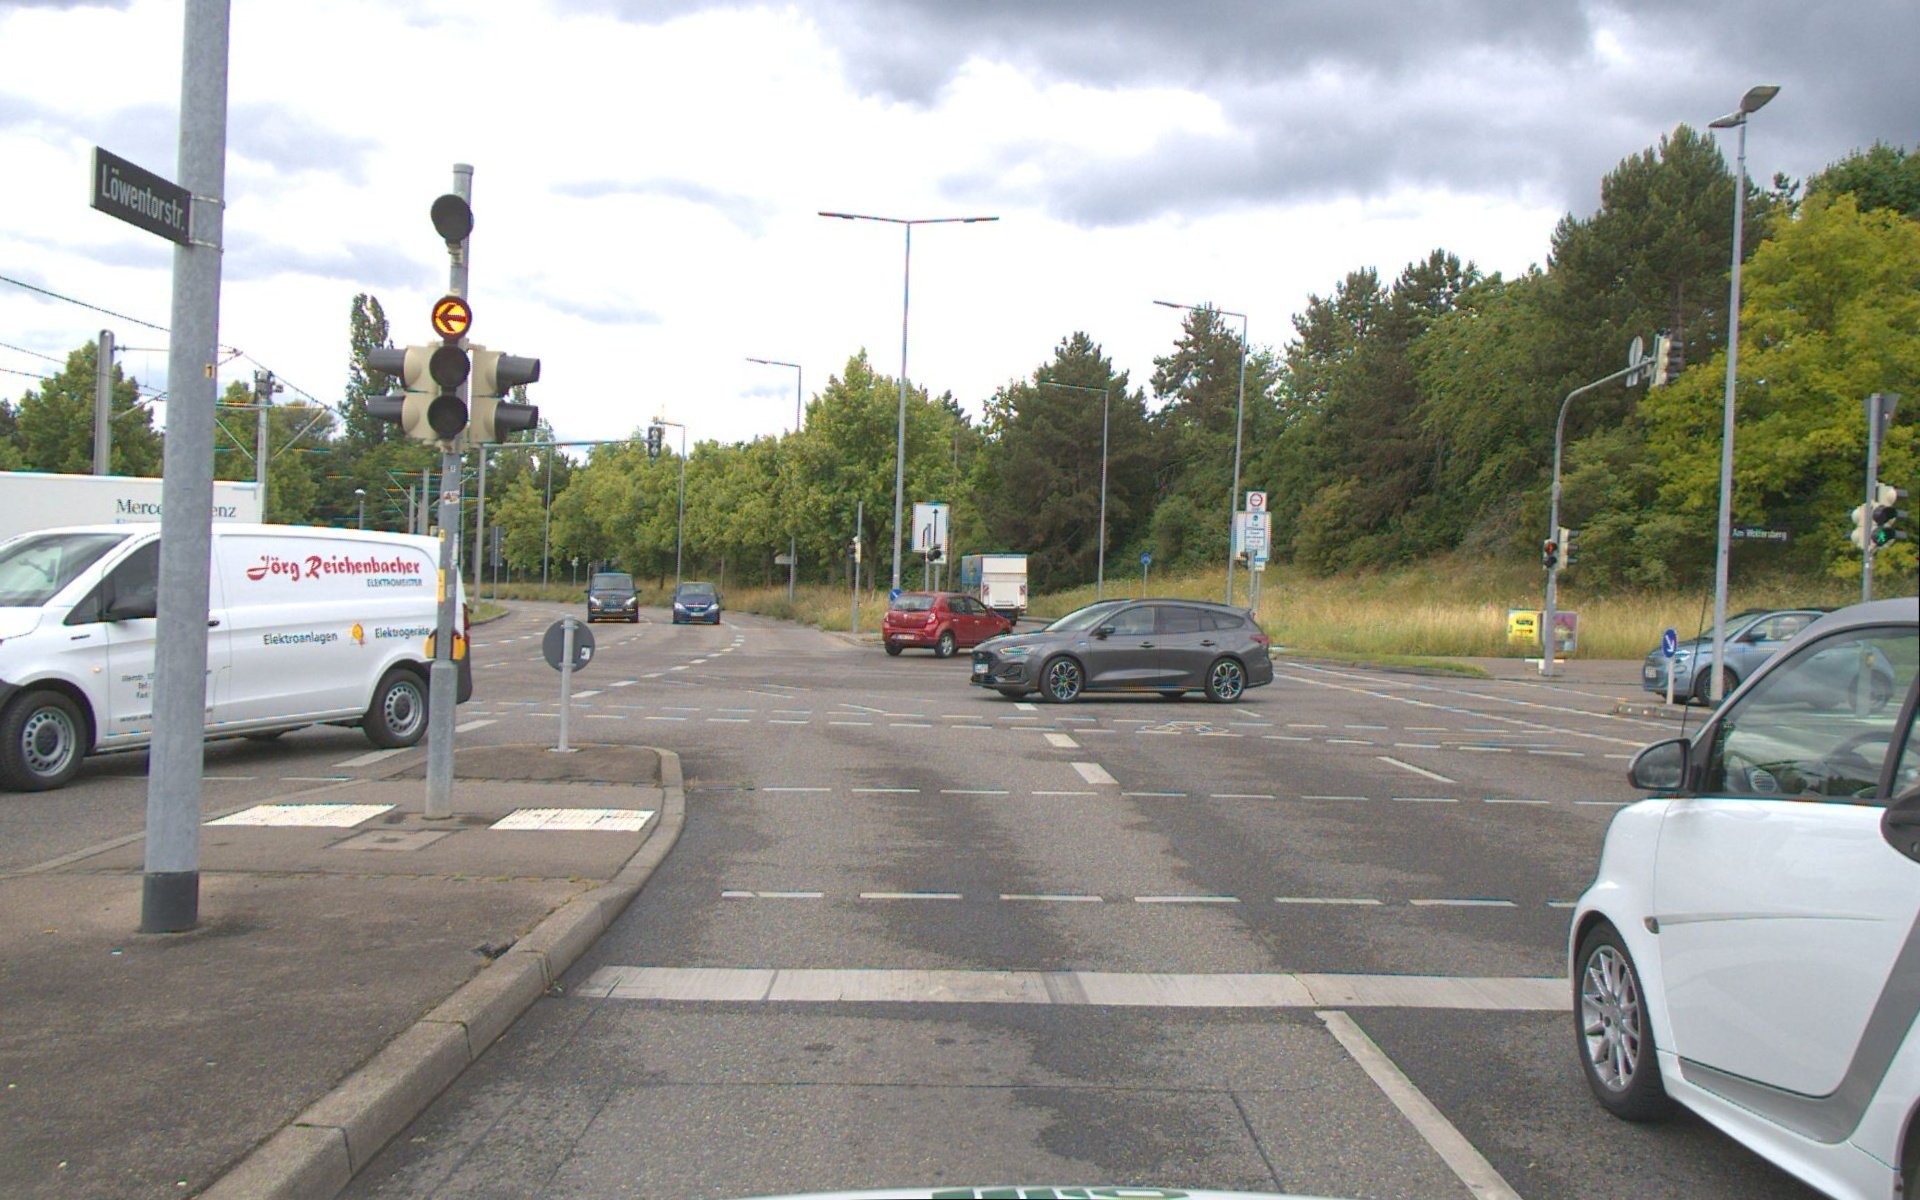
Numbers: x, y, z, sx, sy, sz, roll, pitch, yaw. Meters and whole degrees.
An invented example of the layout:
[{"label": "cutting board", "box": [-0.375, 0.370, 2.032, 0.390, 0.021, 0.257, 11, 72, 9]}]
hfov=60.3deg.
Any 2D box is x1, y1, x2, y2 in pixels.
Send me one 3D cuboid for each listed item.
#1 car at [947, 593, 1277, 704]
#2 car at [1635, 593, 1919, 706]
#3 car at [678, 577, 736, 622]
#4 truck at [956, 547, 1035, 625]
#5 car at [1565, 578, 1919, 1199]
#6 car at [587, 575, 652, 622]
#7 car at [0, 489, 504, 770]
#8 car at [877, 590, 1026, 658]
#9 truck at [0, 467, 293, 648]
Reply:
[{"label": "car", "box": [2.219, 0.667, 24.212, 4.429, 1.487, 1.987, 0, 1, -23]}, {"label": "car", "box": [12.953, 0.754, 26.036, 3.904, 1.629, 1.838, 1, 1, 2]}, {"label": "car", "box": [-9.667, -0.044, 62.908, 1.883, 1.603, 3.987, 1, 1, -13]}, {"label": "truck", "box": [1.661, -0.719, 81.455, 2.634, 3.661, 7.248, 0, 1, -9]}, {"label": "car", "box": [2.683, 0.724, 3.908, 1.504, 1.530, 2.670, 1, 0, -1]}, {"label": "car", "box": [-12.986, -0.061, 63.291, 1.878, 1.758, 3.997, 0, 0, -4]}, {"label": "car", "box": [-6.274, 0.268, 13.331, 1.954, 1.847, 5.432, -2, -2, 25]}, {"label": "car", "box": [-0.156, 0.565, 40.326, 1.696, 1.543, 3.988, -1, 0, 33]}, {"label": "truck", "box": [-19.643, -0.896, 35.674, 9.389, 3.713, 2.637, 1, 0, -35]}]
